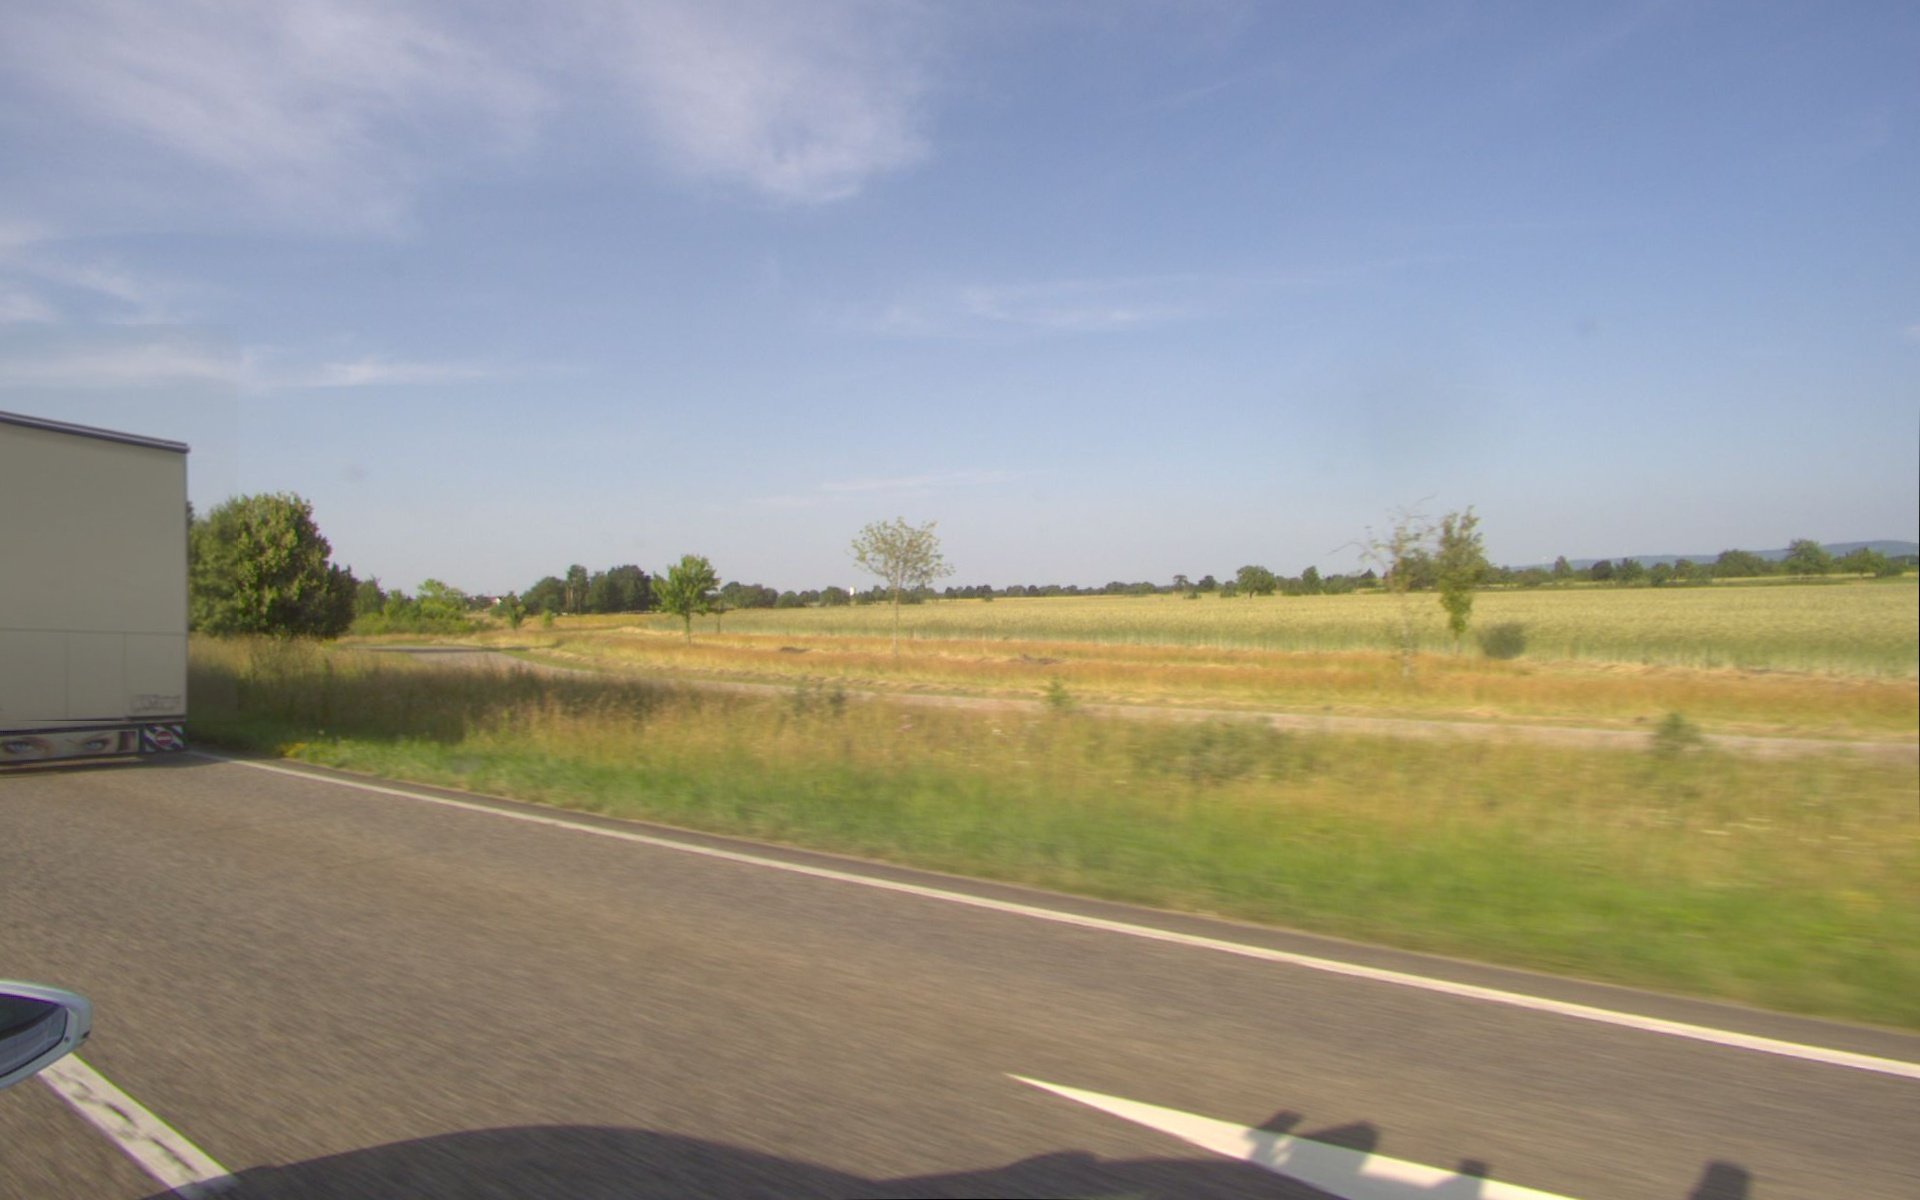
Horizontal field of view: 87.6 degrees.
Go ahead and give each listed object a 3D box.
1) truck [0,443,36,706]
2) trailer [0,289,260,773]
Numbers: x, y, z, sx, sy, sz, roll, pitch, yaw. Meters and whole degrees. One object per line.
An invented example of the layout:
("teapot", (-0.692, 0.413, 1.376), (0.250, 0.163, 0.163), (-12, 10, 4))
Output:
("truck", (-20.117, -0.439, 18.689), (5.659, 4.717, 3.289), (-1, -1, 37))
("trailer", (-14.223, -0.575, 14.185), (12.980, 4.741, 3.270), (-1, -1, 37))
